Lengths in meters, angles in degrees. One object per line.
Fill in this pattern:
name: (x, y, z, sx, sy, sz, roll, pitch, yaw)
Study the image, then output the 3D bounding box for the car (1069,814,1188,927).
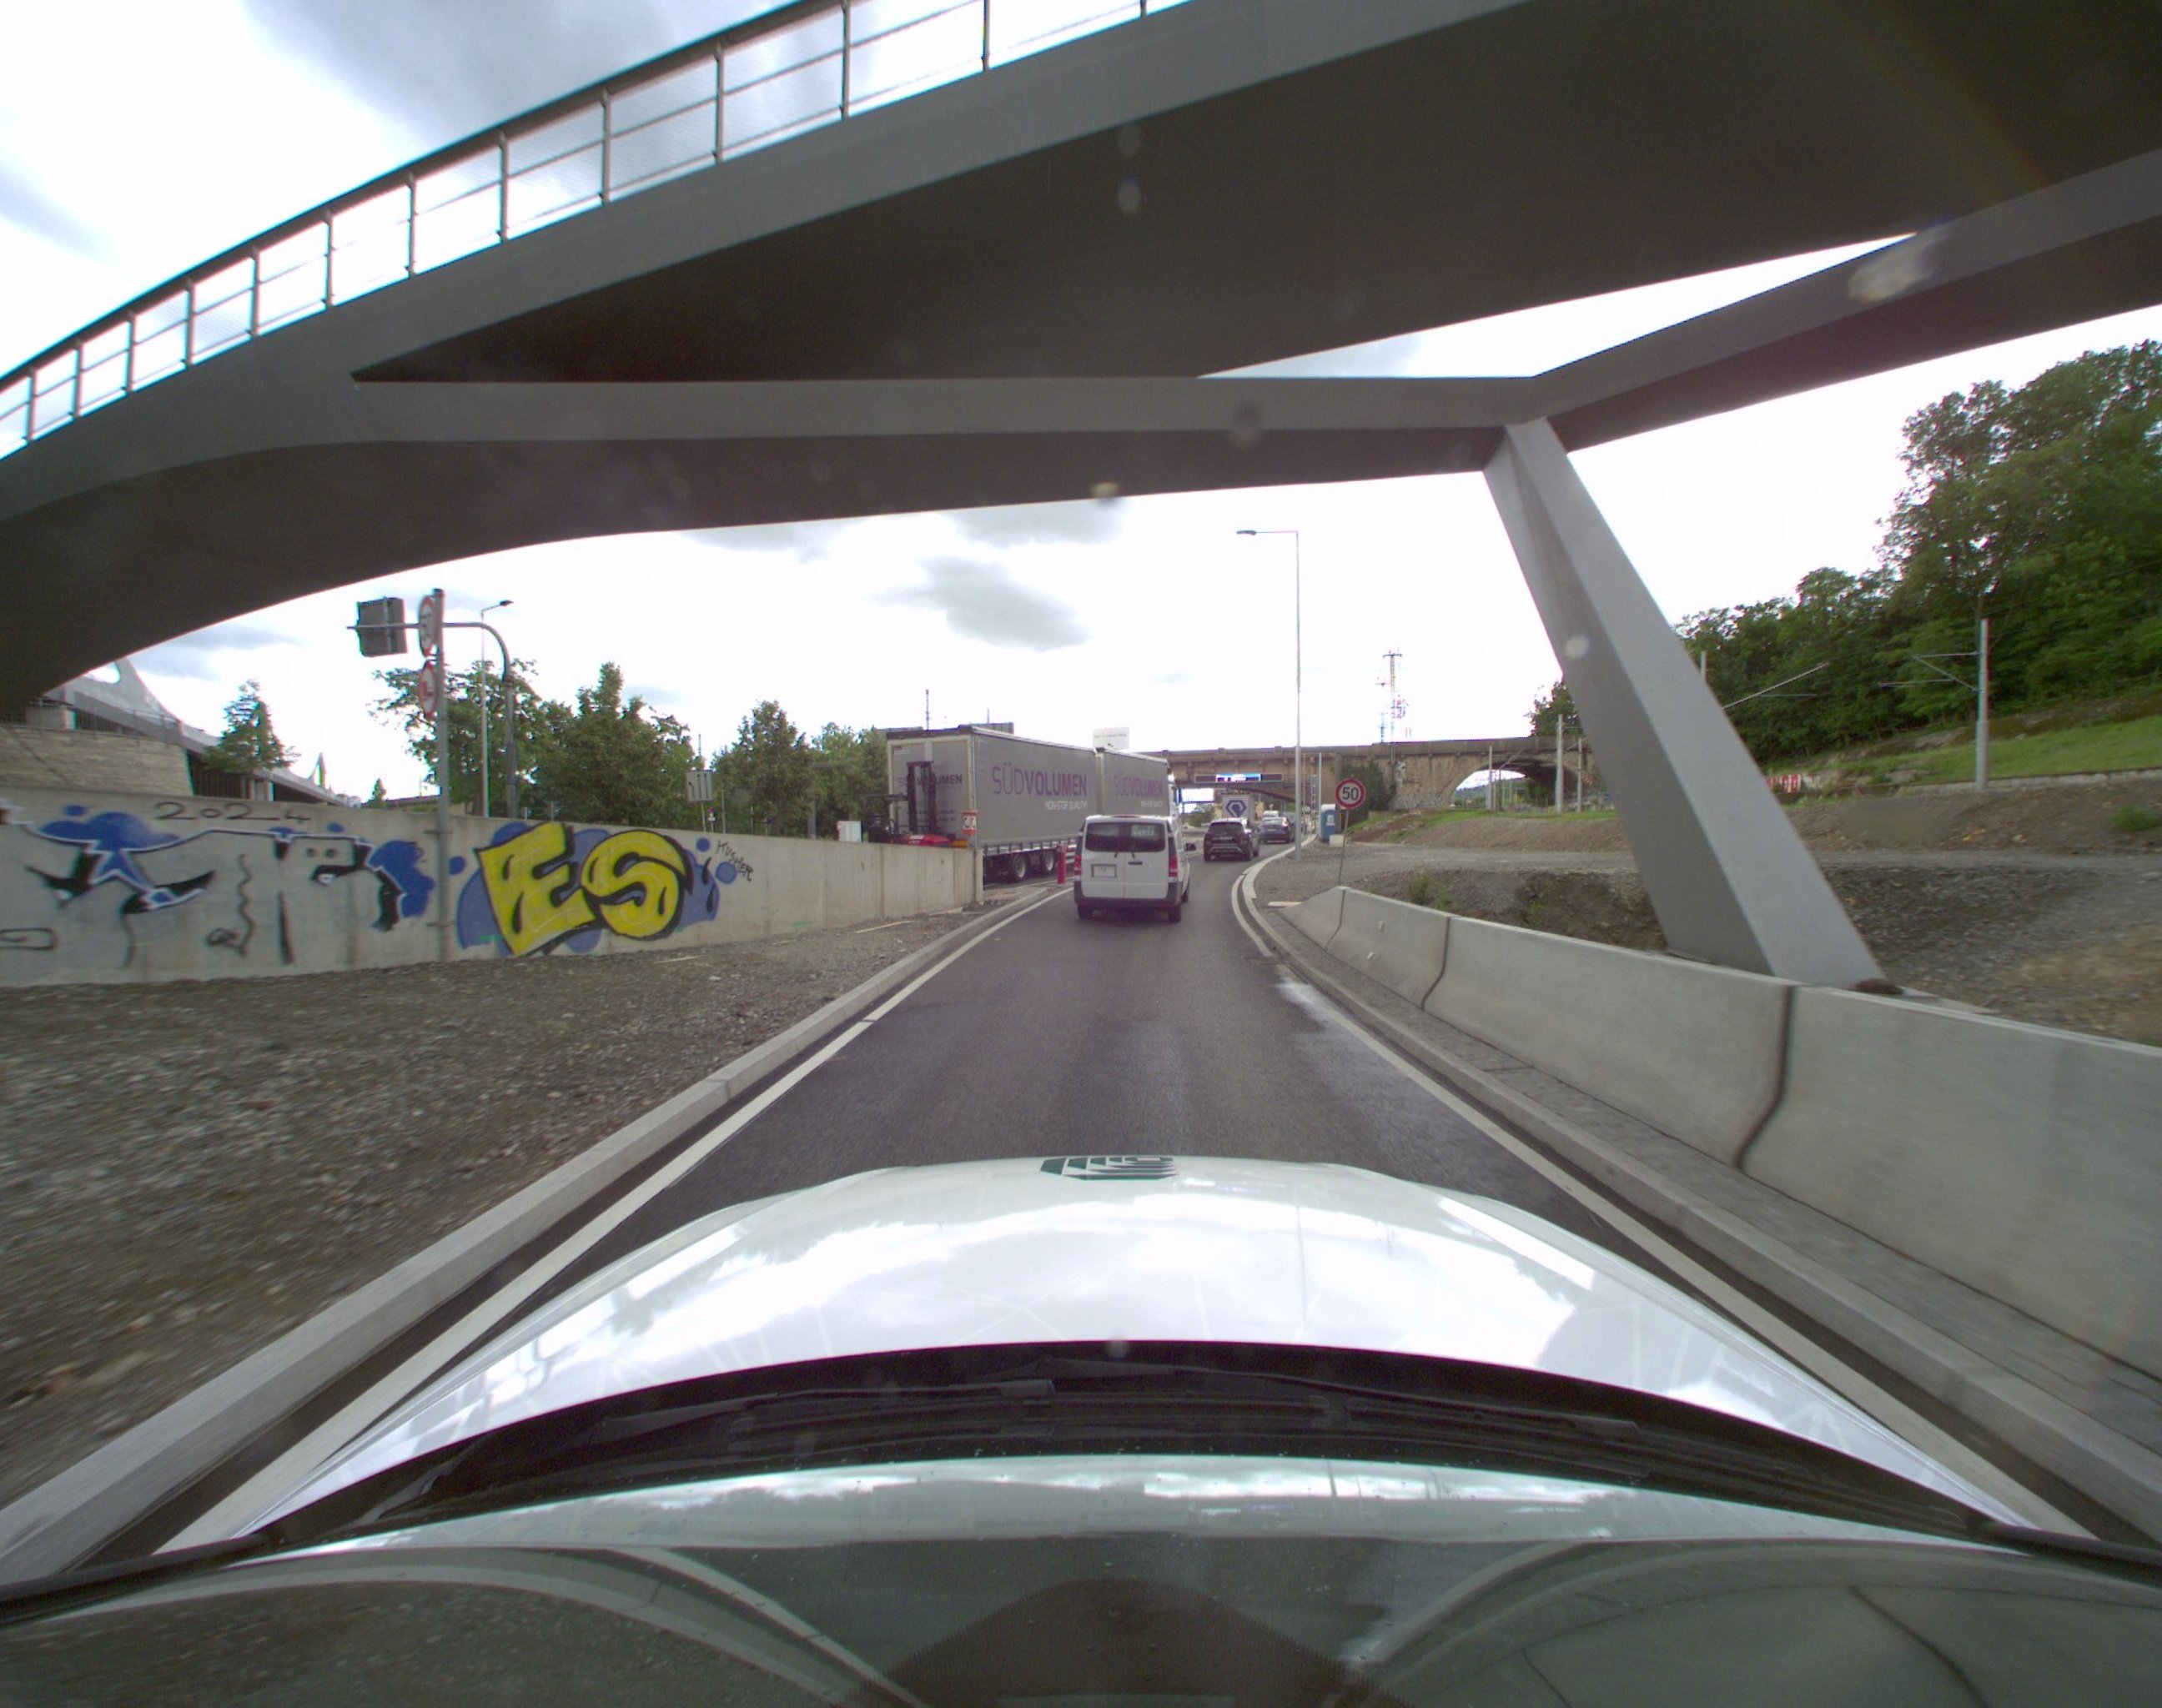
car: (1.103, 0.170, 16.046, 1.865, 1.890, 4.766, 0, 3, 9)

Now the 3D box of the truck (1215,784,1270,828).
truck: (16.228, -4.587, 80.467, 3.290, 3.808, 16.673, 2, 3, 18)

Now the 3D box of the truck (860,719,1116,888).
truck: (-2.151, -1.472, 24.650, 2.892, 4.015, 10.260, 1, 3, 23)

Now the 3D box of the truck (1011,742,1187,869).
truck: (1.236, -2.033, 32.663, 2.961, 4.174, 11.307, 1, 5, 23)

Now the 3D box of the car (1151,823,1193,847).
car: (6.343, -1.264, 56.266, 1.977, 1.552, 4.020, 1, 0, 19)

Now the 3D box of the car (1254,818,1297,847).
car: (10.633, -1.143, 44.392, 1.487, 1.469, 3.419, 1, 0, 27)

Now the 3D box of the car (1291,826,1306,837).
car: (38.291, -3.991, 143.520, 1.881, 1.809, 4.509, 1, 0, 22)

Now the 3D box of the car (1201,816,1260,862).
car: (5.773, -0.601, 31.150, 1.735, 1.625, 3.863, 0, 2, 18)

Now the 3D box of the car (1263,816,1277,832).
car: (27.894, -4.382, 120.235, 1.885, 2.116, 4.501, 1, 0, 13)
